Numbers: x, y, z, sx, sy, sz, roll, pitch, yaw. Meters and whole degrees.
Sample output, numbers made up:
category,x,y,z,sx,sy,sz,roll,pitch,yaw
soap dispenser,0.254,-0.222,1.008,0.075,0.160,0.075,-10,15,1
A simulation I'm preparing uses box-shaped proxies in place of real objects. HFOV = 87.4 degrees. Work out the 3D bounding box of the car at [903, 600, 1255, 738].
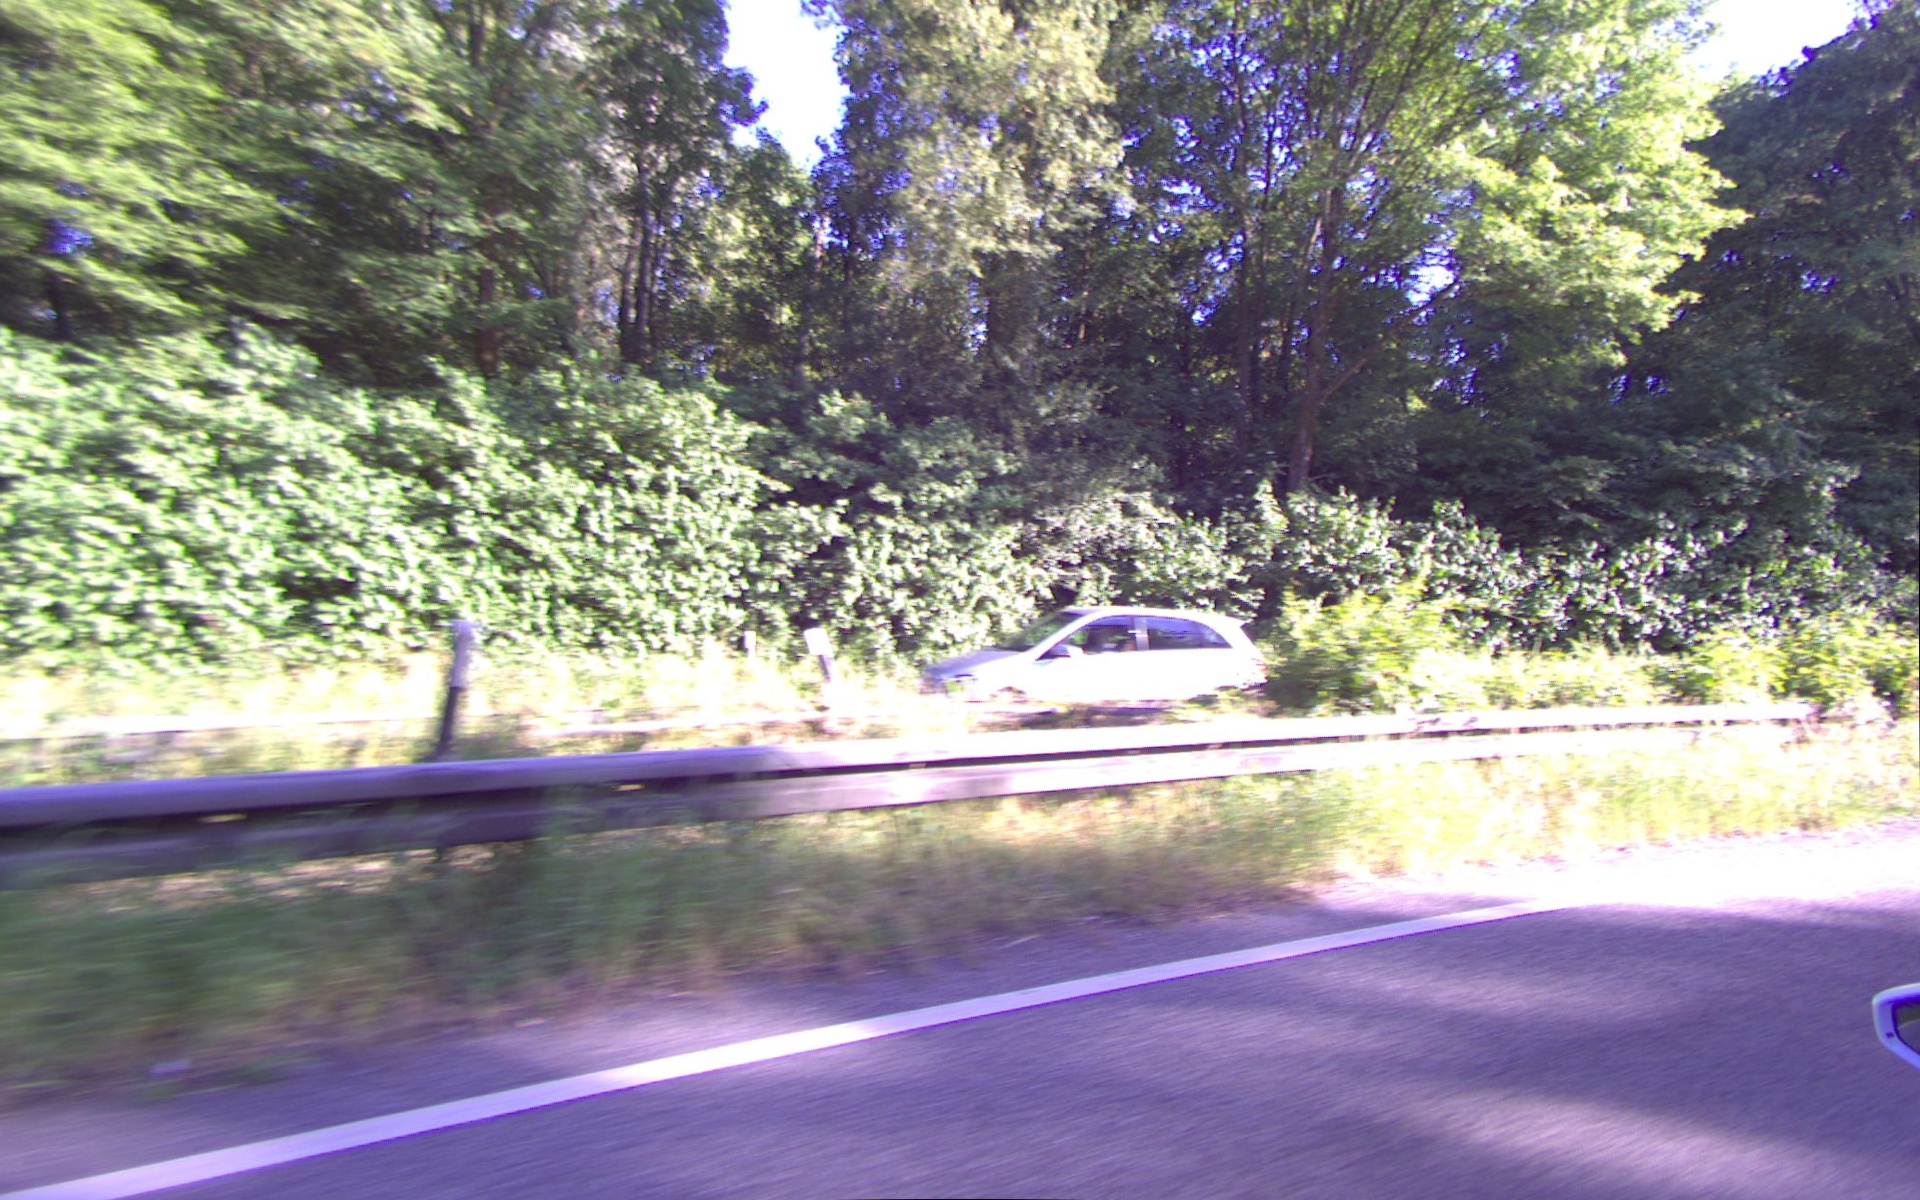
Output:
category,x,y,z,sx,sy,sz,roll,pitch,yaw
car,1.388,0.806,12.274,3.930,1.507,1.723,1,-1,-13
